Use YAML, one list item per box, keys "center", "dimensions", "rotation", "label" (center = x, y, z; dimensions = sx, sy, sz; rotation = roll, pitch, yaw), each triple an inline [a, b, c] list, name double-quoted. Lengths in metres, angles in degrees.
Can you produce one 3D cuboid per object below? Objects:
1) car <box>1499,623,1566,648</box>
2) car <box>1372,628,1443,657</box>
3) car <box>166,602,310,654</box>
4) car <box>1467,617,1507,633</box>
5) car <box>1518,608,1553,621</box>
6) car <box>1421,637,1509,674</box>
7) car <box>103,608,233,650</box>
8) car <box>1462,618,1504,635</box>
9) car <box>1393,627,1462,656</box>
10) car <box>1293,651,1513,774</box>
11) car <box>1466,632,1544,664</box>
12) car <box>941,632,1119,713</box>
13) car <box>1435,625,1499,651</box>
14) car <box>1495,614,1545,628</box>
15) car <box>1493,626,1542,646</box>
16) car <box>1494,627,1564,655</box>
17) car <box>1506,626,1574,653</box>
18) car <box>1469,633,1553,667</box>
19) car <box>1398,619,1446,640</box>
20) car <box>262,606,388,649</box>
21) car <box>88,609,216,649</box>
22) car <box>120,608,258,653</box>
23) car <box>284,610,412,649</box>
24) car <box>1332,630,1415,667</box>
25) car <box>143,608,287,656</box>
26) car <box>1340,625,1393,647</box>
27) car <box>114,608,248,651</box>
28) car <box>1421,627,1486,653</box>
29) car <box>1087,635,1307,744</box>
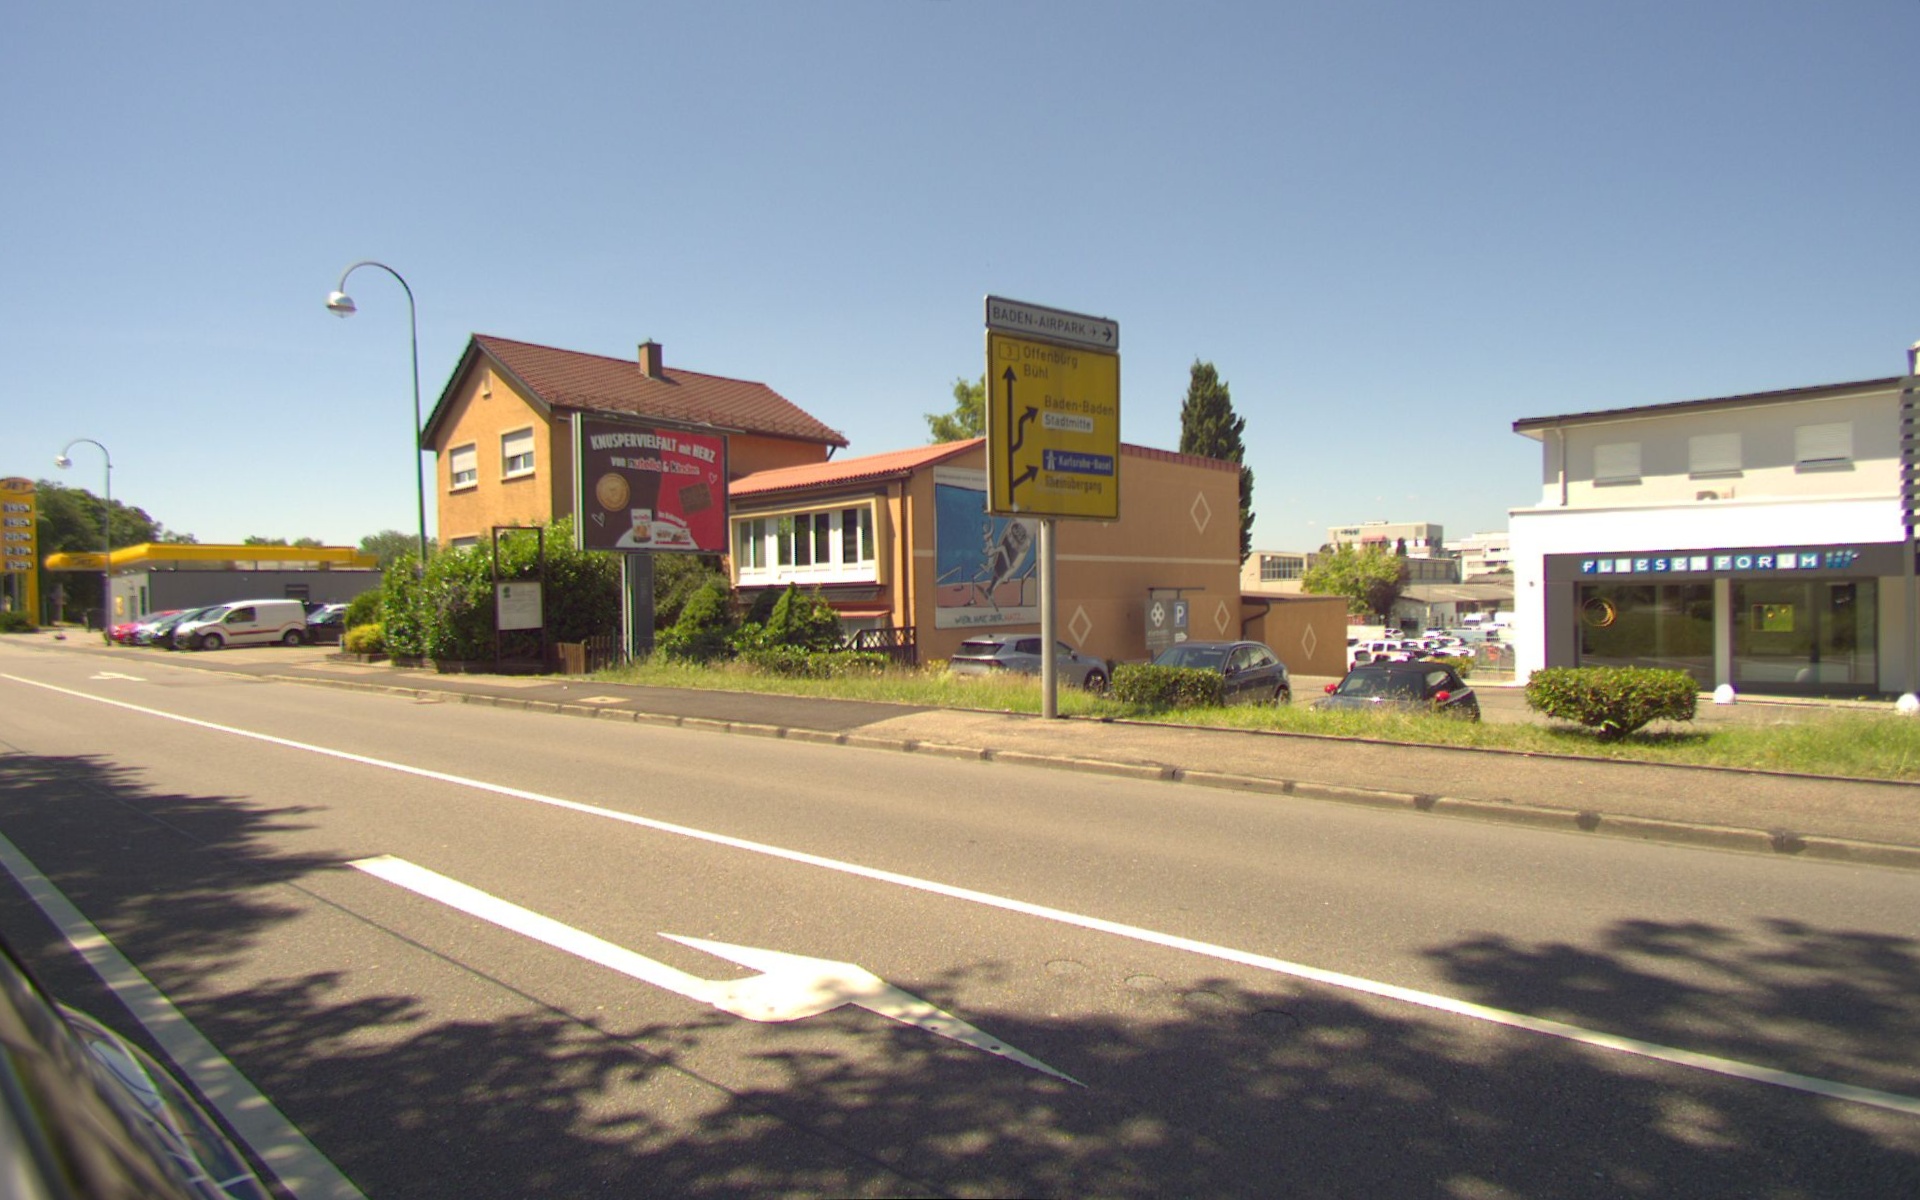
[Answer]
- center: [42.710, 2.651, 75.581]
  dimensions: [4.055, 1.768, 1.707]
  rotation: [-1, -1, 44]
  label: "car"
- center: [28.303, 2.671, 64.046]
  dimensions: [3.774, 1.768, 1.707]
  rotation: [-1, -1, 44]
  label: "car"
- center: [-27.541, 1.019, 38.725]
  dimensions: [1.871, 1.883, 4.143]
  rotation: [-1, -1, 35]
  label: "car"
- center: [61.236, 2.862, 117.554]
  dimensions: [3.774, 1.768, 1.707]
  rotation: [-1, 1, 44]
  label: "car"
- center: [77.171, 1.974, 135.767]
  dimensions: [3.774, 1.768, 1.707]
  rotation: [-1, -1, 44]
  label: "car"
- center: [26.250, 2.877, 52.649]
  dimensions: [3.774, 1.768, 1.707]
  rotation: [-1, -1, 44]
  label: "car"
- center: [-35.950, 1.276, 46.044]
  dimensions: [1.871, 1.773, 4.351]
  rotation: [-1, -1, 35]
  label: "car"
- center: [57.873, 2.934, 112.076]
  dimensions: [1.706, 1.768, 3.775]
  rotation: [-2, -1, -45]
  label: "car"
- center: [31.113, 2.707, 67.430]
  dimensions: [3.774, 1.768, 1.707]
  rotation: [-1, 1, 44]
  label: "car"
- center: [7.106, 1.657, 16.049]
  dimensions: [4.039, 1.544, 1.772]
  rotation: [0, -1, -44]
  label: "car"
- center: [32.262, 2.799, 59.929]
  dimensions: [3.774, 1.768, 1.707]
  rotation: [-1, -1, 44]
  label: "car"
- center: [1.693, 1.608, 23.645]
  dimensions: [4.165, 1.621, 1.773]
  rotation: [0, -1, -42]
  label: "car"
- center: [36.545, 2.737, 72.948]
  dimensions: [3.774, 1.768, 1.707]
  rotation: [-1, -1, 44]
  label: "car"
- center: [71.728, 2.647, 129.652]
  dimensions: [5.303, 1.768, 2.037]
  rotation: [-1, -1, 44]
  label: "car"
- center: [53.052, 3.407, 96.284]
  dimensions: [3.774, 1.768, 1.707]
  rotation: [-1, 1, 44]
  label: "car"
- center: [37.979, 2.718, 67.649]
  dimensions: [3.774, 1.768, 1.707]
  rotation: [-1, -1, 44]
  label: "car"
- center: [39.912, 2.696, 69.689]
  dimensions: [3.774, 1.768, 1.707]
  rotation: [-1, -1, 44]
  label: "car"
- center: [30.429, 2.718, 55.953]
  dimensions: [3.774, 1.768, 1.707]
  rotation: [-1, -1, 44]
  label: "car"
- center: [44.366, 2.847, 97.134]
  dimensions: [3.774, 1.768, 1.707]
  rotation: [-5, -4, 43]
  label: "car"
- center: [-27.971, 1.168, 44.714]
  dimensions: [1.871, 1.839, 4.351]
  rotation: [0, -1, 35]
  label: "car"
- center: [-37.847, 1.330, 47.486]
  dimensions: [1.871, 1.773, 4.351]
  rotation: [-1, -1, 35]
  label: "car"
- center: [-32.650, 1.257, 42.972]
  dimensions: [1.871, 1.773, 4.351]
  rotation: [-1, -1, 35]
  label: "car"
- center: [-26.194, 1.217, 43.477]
  dimensions: [1.871, 1.575, 4.351]
  rotation: [-1, -1, 35]
  label: "car"
- center: [23.986, 2.775, 58.732]
  dimensions: [4.001, 2.029, 1.971]
  rotation: [-1, -1, 44]
  label: "car"
- center: [-29.285, 1.206, 39.896]
  dimensions: [1.871, 1.773, 4.198]
  rotation: [-1, -1, 35]
  label: "car"
- center: [33.935, 2.953, 84.521]
  dimensions: [3.774, 1.768, 1.707]
  rotation: [-1, -1, 44]
  label: "car"
- center: [-34.235, 1.272, 44.578]
  dimensions: [1.871, 1.773, 4.351]
  rotation: [-1, -1, 35]
  label: "car"
- center: [34.466, 2.762, 70.752]
  dimensions: [3.774, 1.768, 1.707]
  rotation: [-1, -1, 44]
  label: "car"
- center: [4.426, 1.515, 18.481]
  dimensions: [4.462, 1.654, 1.772]
  rotation: [0, -1, -44]
  label: "car"
